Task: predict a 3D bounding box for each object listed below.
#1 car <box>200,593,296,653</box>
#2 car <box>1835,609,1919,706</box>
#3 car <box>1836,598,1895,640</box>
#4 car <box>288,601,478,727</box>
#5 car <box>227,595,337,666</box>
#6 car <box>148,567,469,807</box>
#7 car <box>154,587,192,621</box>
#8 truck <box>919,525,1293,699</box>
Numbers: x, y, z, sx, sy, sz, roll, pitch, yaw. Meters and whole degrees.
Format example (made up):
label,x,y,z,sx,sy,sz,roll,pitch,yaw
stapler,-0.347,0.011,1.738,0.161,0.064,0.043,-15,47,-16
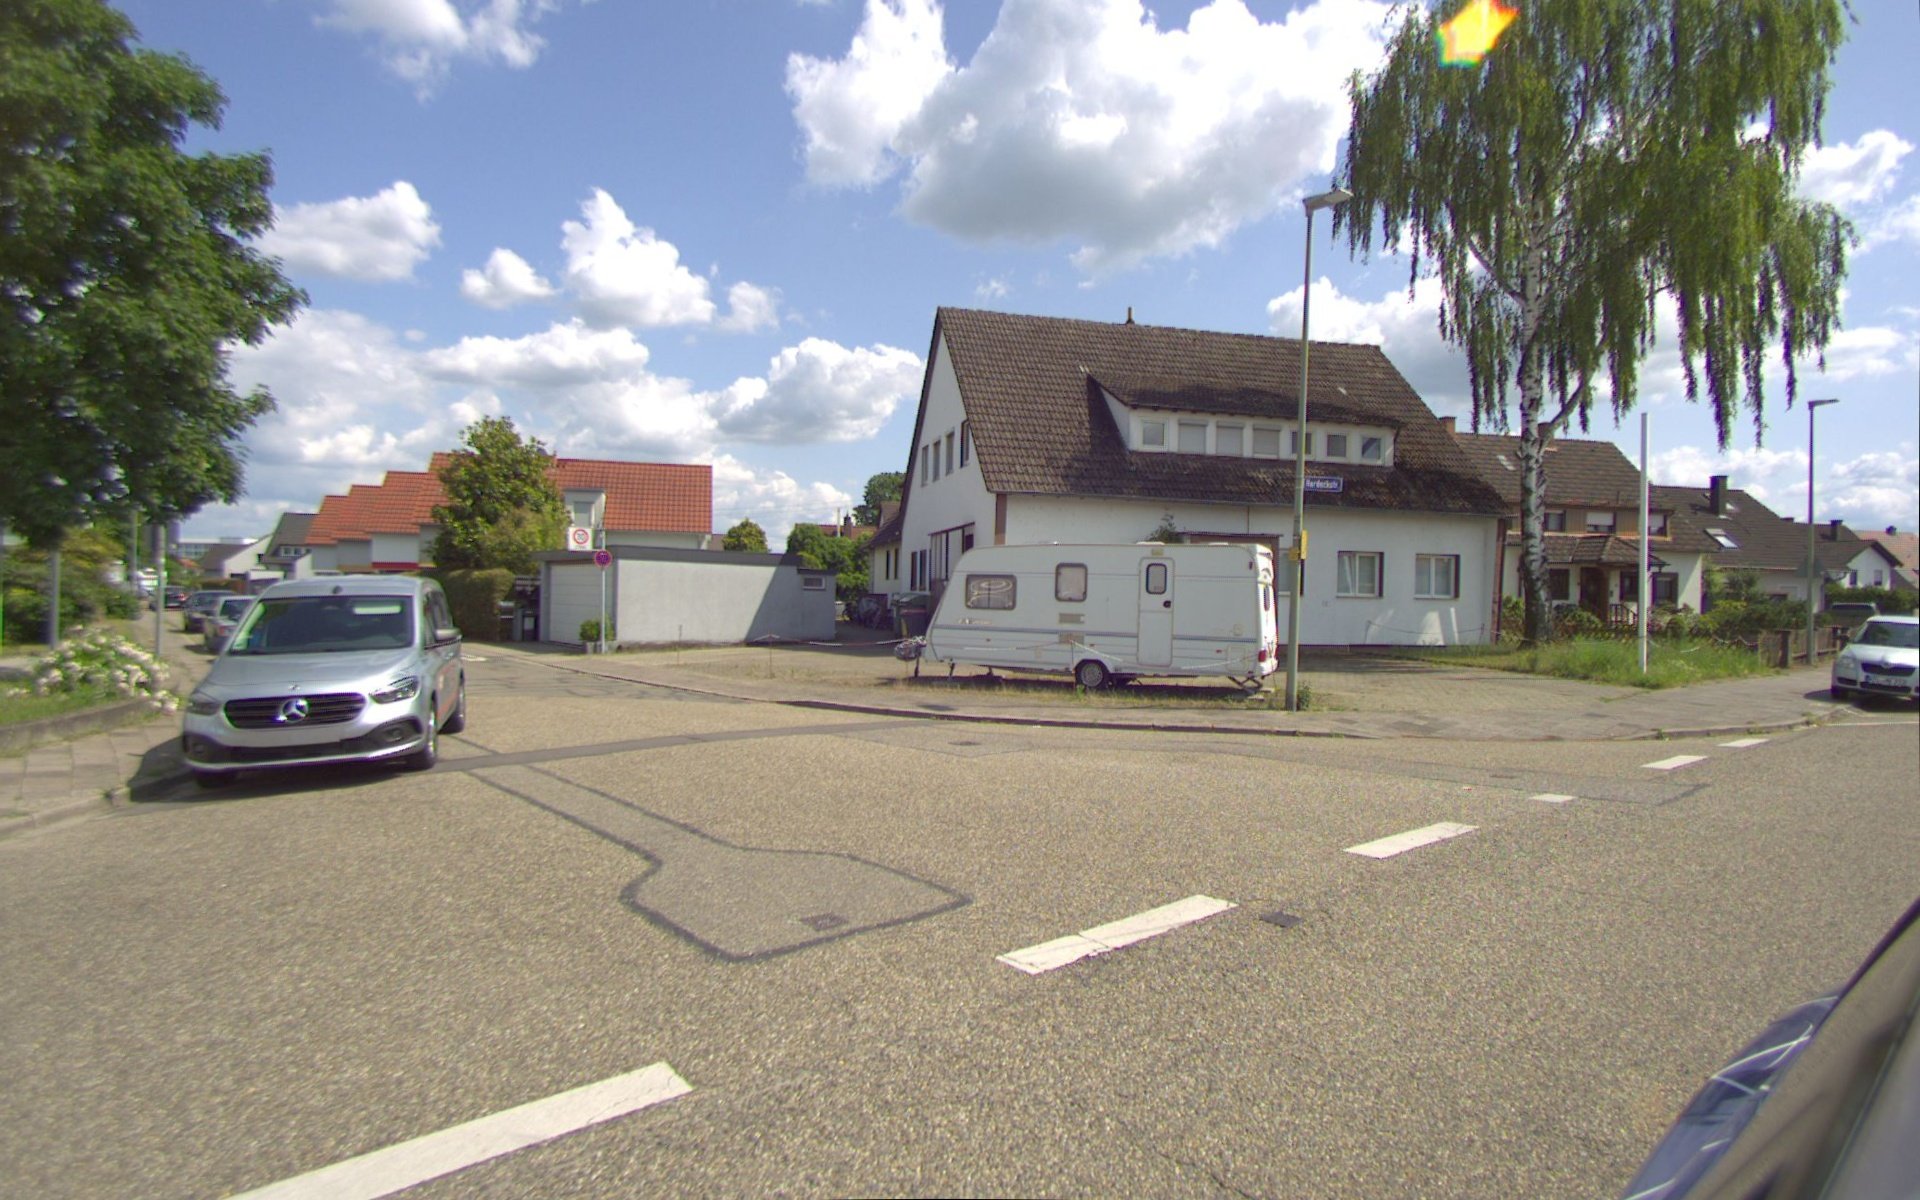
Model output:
label,x,y,z,sx,sy,sz,roll,pitch,yaw
car,-18.650,0.539,26.435,1.589,1.416,4.247,1,0,-42
car,17.219,0.968,18.154,3.927,1.601,1.614,1,-1,-39
car,43.493,0.905,48.558,1.857,1.889,4.939,1,0,45
car,-8.466,0.780,14.641,1.727,1.445,4.624,-1,1,-38
car,-15.152,0.629,22.557,1.589,1.416,3.358,1,0,-42
car,-6.054,0.618,9.994,1.826,1.774,4.418,-2,1,-22
car,-48.628,0.224,62.529,1.663,1.994,3.995,1,0,-40
truck,2.532,0.159,17.592,5.993,2.610,2.545,1,-1,24
